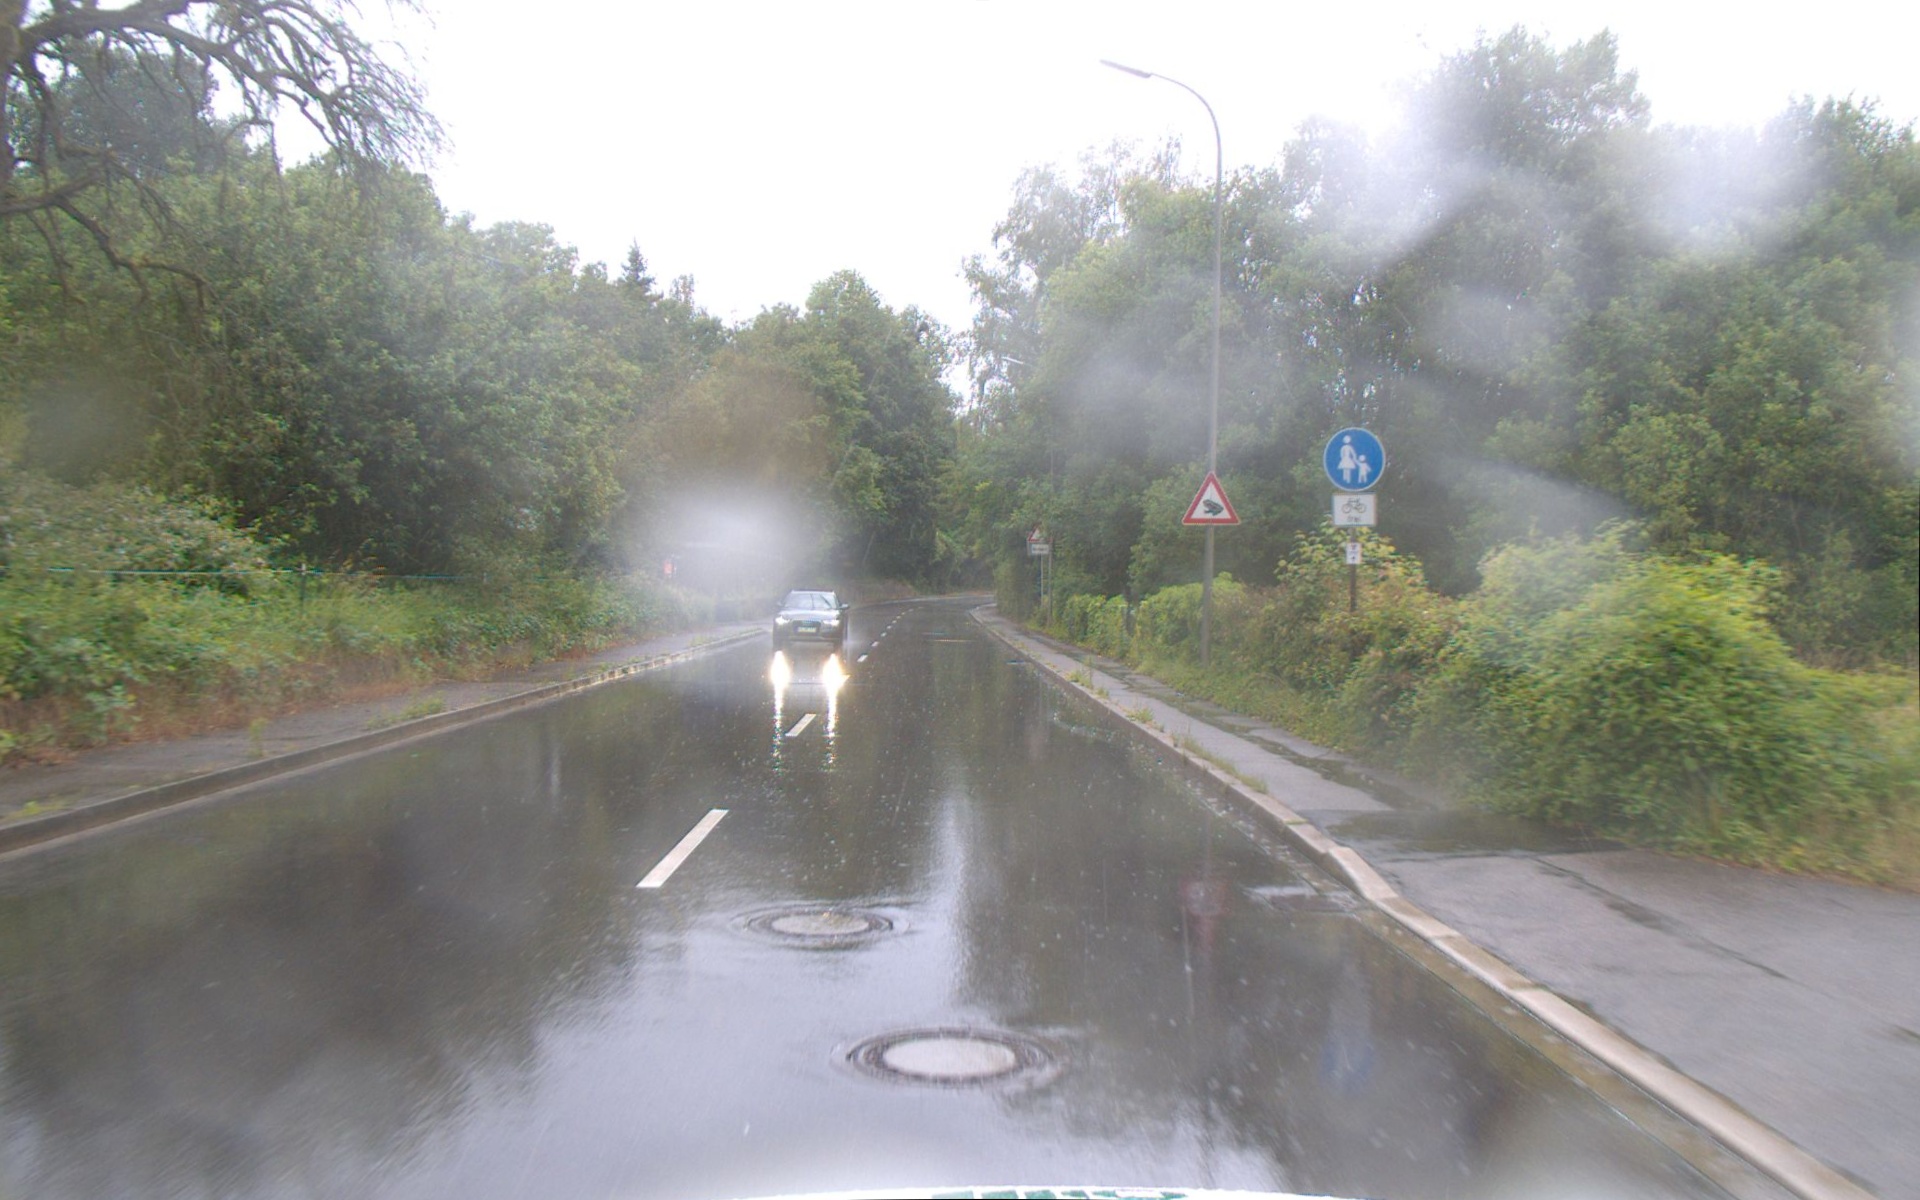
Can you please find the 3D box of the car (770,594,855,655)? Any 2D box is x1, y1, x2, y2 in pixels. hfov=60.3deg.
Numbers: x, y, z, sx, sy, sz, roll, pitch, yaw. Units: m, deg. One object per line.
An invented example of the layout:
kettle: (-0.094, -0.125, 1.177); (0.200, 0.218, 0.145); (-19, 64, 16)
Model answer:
car: (-3.915, 0.619, 44.569); (1.953, 1.479, 4.427); (1, 1, -1)
